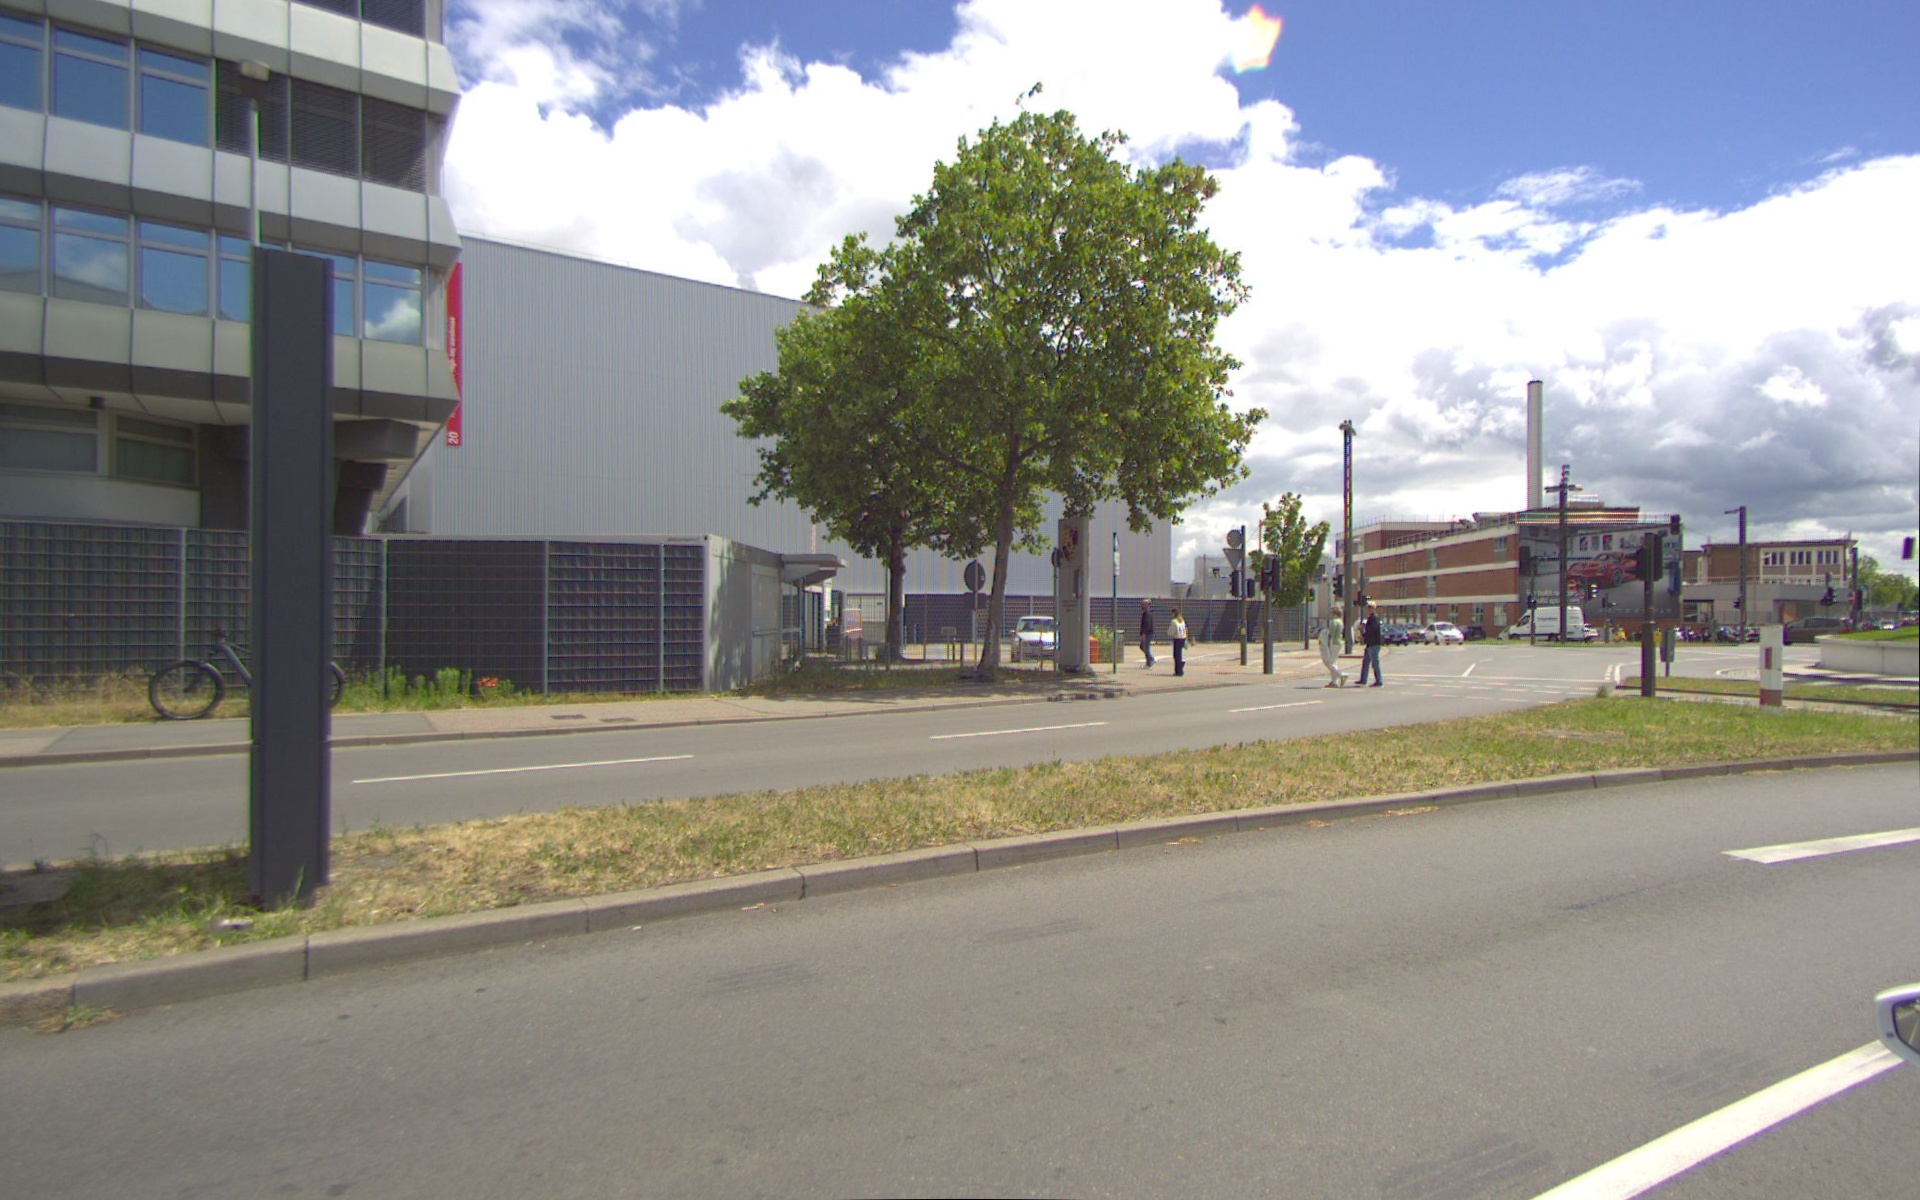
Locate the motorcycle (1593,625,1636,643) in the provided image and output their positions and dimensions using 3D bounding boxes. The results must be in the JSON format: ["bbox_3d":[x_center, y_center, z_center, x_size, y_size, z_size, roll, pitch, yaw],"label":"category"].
[{"bbox_3d":[49.968,2.598,76.744,0.905,1.211,2.904,2,0,-15],"label":"motorcycle"}]

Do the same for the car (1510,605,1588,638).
[{"bbox_3d":[42.208,1.492,72.110,1.968,2.200,4.637,2,0,-18],"label":"car"}]

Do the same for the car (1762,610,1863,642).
[{"bbox_3d":[48.523,1.456,57.223,1.979,1.658,3.963,2,0,-33],"label":"car"}]

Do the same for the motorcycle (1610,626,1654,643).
[{"bbox_3d":[51.504,2.627,76.986,0.905,1.211,2.904,2,0,-15],"label":"motorcycle"}]

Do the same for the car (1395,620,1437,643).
[{"bbox_3d":[34.428,2.367,75.915,1.788,1.577,4.227,2,0,9],"label":"car"}]

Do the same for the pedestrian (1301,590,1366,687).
[{"bbox_3d":[8.265,0.832,22.263,0.935,2.082,0.952,2,0,-15],"label":"pedestrian"}]

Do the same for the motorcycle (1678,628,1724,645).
[{"bbox_3d":[57.301,2.796,77.672,0.905,1.211,2.904,2,0,-15],"label":"motorcycle"}]

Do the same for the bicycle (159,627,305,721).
[{"bbox_3d":[-9.323,0.941,12.914,1.468,1.146,0.295,2,0,-31],"label":"bicycle"}]

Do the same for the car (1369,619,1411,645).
[{"bbox_3d":[28.603,2.132,66.898,1.766,1.577,3.960,2,0,12],"label":"car"}]

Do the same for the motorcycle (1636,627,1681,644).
[{"bbox_3d":[53.643,2.713,77.185,0.905,1.211,2.904,2,0,-15],"label":"motorcycle"}]

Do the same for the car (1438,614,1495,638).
[{"bbox_3d":[43.896,2.201,87.204,2.169,1.882,4.510,2,0,-9],"label":"car"}]

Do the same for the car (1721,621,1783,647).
[{"bbox_3d":[62.744,2.673,79.635,1.677,1.828,3.470,2,0,-17],"label":"car"}]

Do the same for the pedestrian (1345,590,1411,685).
[{"bbox_3d":[9.395,0.833,22.580,0.935,2.082,0.952,2,0,-15],"label":"pedestrian"}]

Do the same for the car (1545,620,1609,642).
[{"bbox_3d":[47.205,2.332,76.912,1.966,1.520,3.990,2,0,-13],"label":"car"}]

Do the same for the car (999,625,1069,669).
[{"bbox_3d":[2.456,1.558,34.034,1.688,1.377,3.997,0,-1,-6],"label":"car"}]

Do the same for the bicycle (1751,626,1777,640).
[{"bbox_3d":[54.705,2.254,68.384,0.483,0.878,1.611,2,0,1],"label":"bicycle"}]

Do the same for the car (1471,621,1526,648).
[{"bbox_3d":[35.352,2.229,66.092,1.959,1.598,4.002,2,0,10],"label":"car"}]

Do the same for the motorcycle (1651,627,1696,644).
[{"bbox_3d":[54.842,2.724,77.217,0.905,1.211,2.904,2,0,-15],"label":"motorcycle"}]

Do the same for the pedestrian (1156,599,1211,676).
[{"bbox_3d":[5.443,0.899,24.466,0.854,1.797,1.029,2,0,43],"label":"pedestrian"}]

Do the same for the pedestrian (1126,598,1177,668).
[{"bbox_3d":[5.073,0.857,26.578,0.854,1.797,1.029,2,0,43],"label":"pedestrian"}]

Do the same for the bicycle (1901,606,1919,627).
[{"bbox_3d":[63.444,1.112,66.521,0.487,1.334,1.596,2,0,-34],"label":"bicycle"}]

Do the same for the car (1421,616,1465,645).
[{"bbox_3d":[32.576,2.034,67.854,1.873,1.820,3.777,2,0,14],"label":"car"}]

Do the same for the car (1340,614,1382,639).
[{"bbox_3d":[29.039,1.906,72.804,1.959,1.645,4.294,2,0,10],"label":"car"}]
